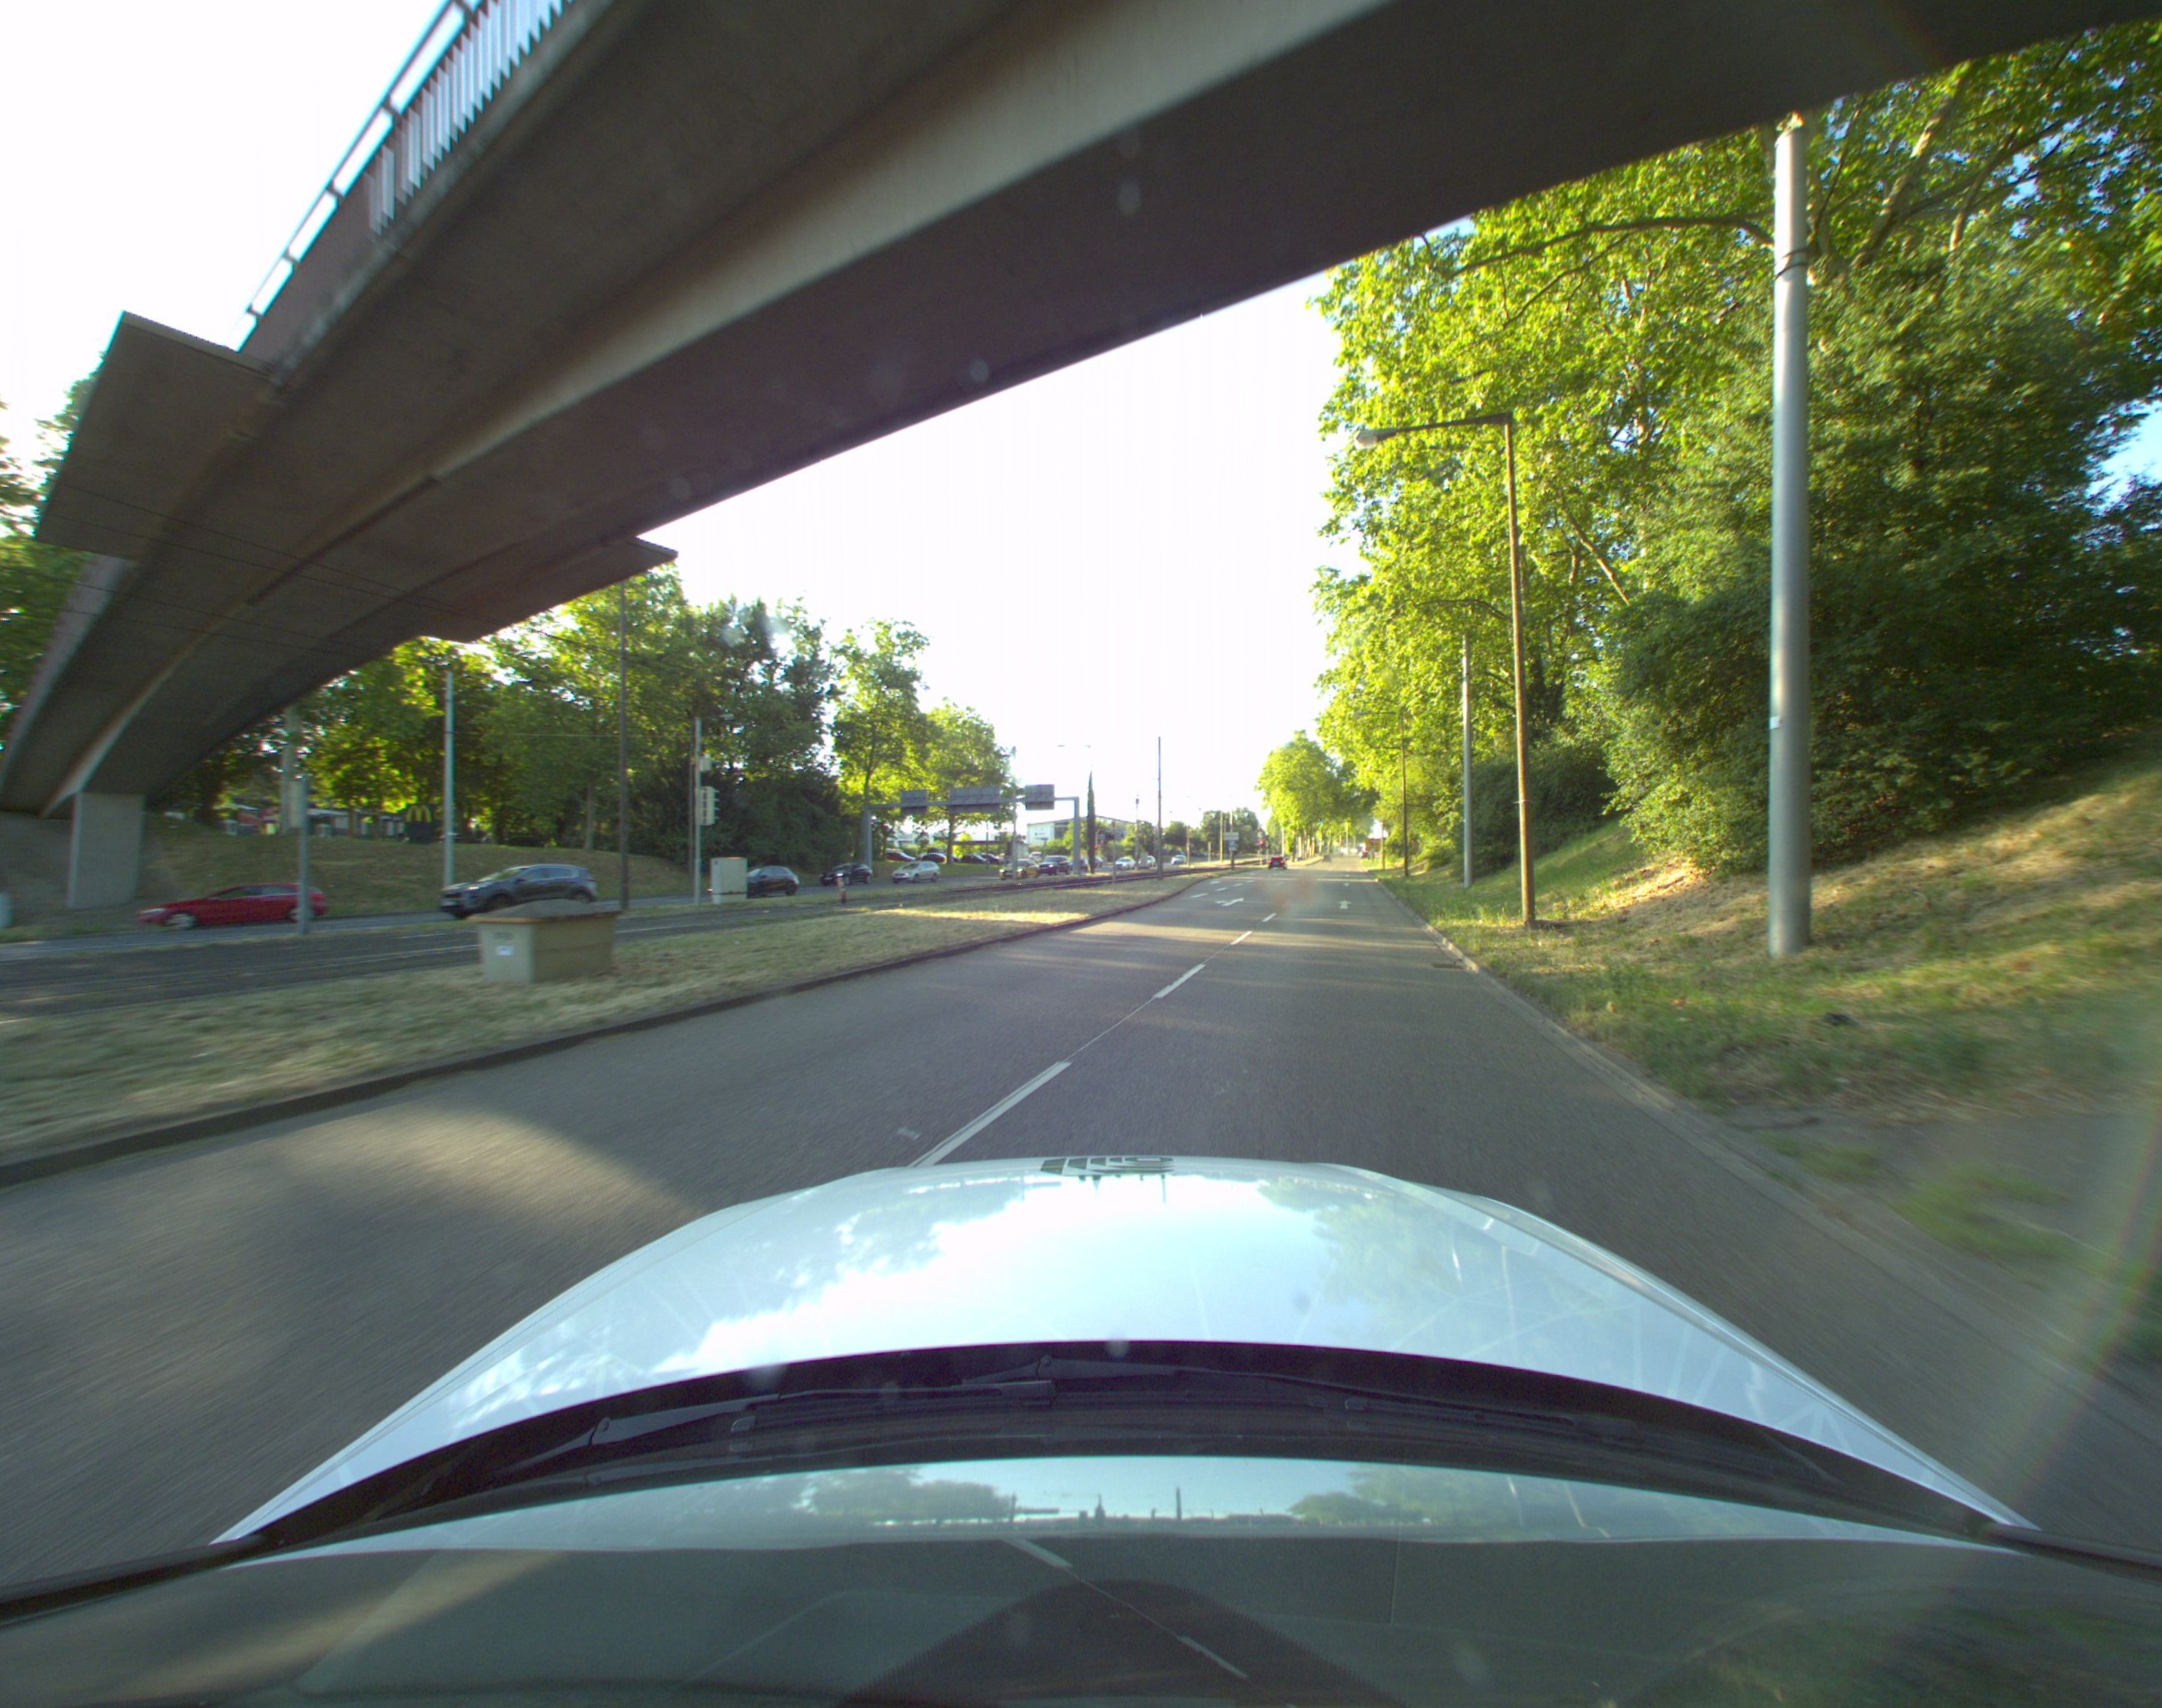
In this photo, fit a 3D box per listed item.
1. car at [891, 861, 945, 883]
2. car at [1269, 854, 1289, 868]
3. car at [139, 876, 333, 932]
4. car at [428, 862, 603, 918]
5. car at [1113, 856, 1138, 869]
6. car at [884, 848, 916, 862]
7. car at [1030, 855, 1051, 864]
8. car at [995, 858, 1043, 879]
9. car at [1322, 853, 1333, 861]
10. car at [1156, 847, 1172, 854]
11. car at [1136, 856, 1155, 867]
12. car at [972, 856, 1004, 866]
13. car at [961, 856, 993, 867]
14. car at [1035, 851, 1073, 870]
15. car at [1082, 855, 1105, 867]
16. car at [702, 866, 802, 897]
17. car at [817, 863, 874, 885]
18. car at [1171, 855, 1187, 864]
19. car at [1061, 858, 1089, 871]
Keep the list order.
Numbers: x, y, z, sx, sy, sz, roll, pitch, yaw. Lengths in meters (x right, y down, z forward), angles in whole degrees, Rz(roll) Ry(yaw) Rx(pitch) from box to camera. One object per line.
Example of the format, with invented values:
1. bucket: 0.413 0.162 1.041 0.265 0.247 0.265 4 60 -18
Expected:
1. car: -11.369 1.236 56.960 1.672 1.416 4.459 0 -1 19
2. car: 21.737 0.805 89.304 1.777 1.403 3.706 -2 -1 19
3. car: -28.217 1.614 27.331 1.773 1.651 4.384 -1 -1 39
4. car: -18.056 1.097 26.283 1.775 1.651 4.378 0 -1 20
5. car: 5.215 0.999 95.675 1.824 1.416 4.620 -1 0 17
6. car: -25.253 0.146 113.771 3.953 1.860 2.010 0 0 21
7. car: -6.341 0.871 128.736 1.825 1.442 4.021 1 0 21
8. car: -4.225 1.009 56.404 1.823 1.416 4.038 0 -1 20
9. car: 44.046 0.510 145.417 1.778 1.403 3.706 0 -1 19
10. car: 17.405 -0.757 171.154 3.119 1.391 1.461 1 0 15
11. car: 8.705 0.939 108.974 1.640 1.416 4.277 0 0 17
12. car: -12.968 0.935 113.346 4.018 1.387 1.794 1 0 24
13. car: -14.061 1.001 110.186 4.018 1.387 1.794 1 0 24
14. car: -2.352 0.572 71.763 1.823 1.655 4.457 1 0 19
15. car: 1.653 0.924 107.453 1.824 1.481 4.621 1 0 18
16. car: -14.610 1.182 36.439 1.672 1.310 4.331 0 -1 20
17. car: -15.863 1.293 55.029 1.673 1.416 4.211 0 -1 17
18. car: 15.461 0.878 128.524 1.640 1.416 4.278 0 0 18
19. car: -0.639 1.146 90.627 1.824 1.481 4.456 1 0 18
